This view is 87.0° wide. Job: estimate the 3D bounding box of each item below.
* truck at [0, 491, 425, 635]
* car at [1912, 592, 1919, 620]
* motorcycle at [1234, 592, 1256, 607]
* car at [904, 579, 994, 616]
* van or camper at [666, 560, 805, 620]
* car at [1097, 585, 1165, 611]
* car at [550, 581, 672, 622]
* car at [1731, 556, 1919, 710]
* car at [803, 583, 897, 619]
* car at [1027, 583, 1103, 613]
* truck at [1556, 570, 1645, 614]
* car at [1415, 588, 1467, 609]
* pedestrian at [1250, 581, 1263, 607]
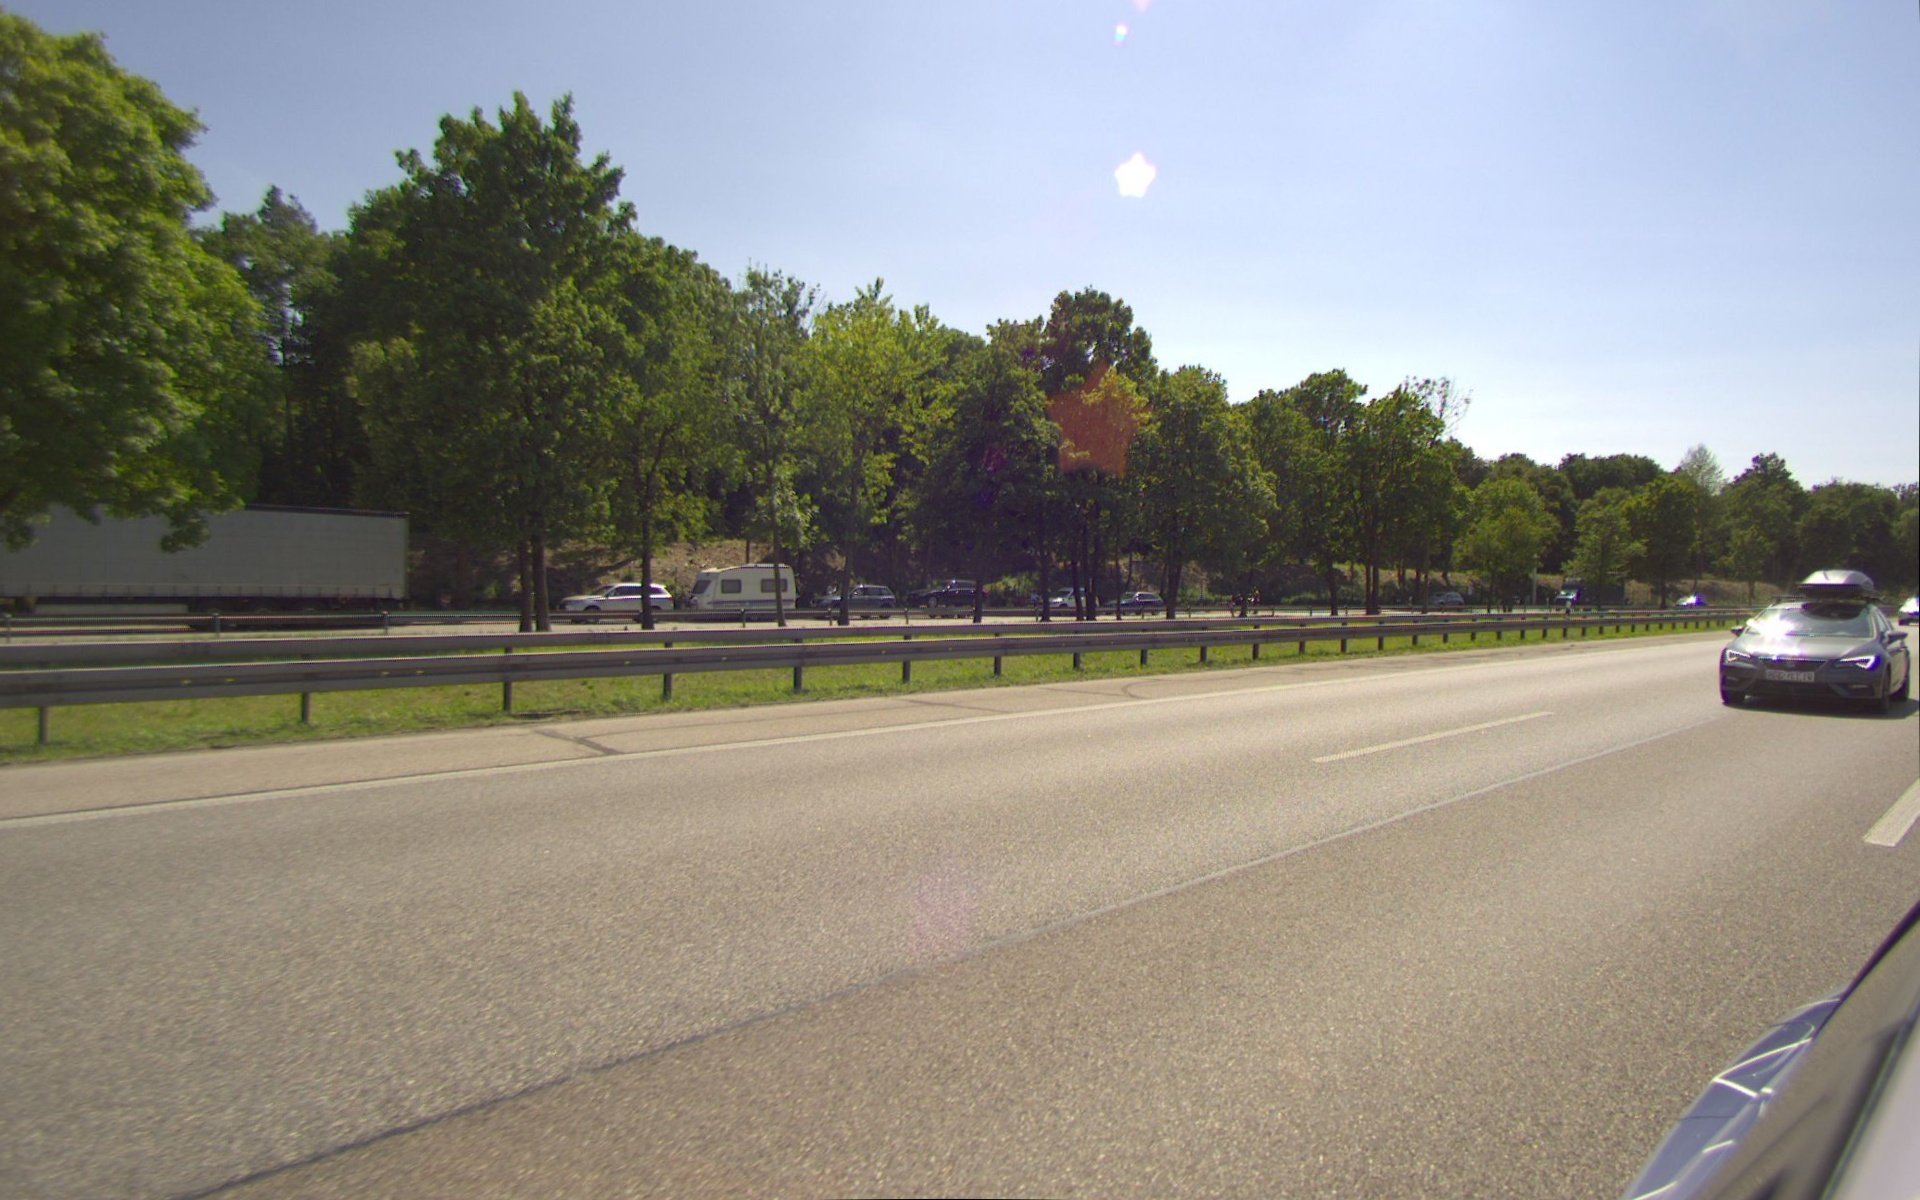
[{"bbox_3d":[-24.985,-1.092,31.824,2.997,3.980,14.228,2,1,44],"label":"truck"},{"bbox_3d":[57.369,0.372,59.323,3.963,1.588,1.847,0,0,-40],"label":"car"},{"bbox_3d":[20.138,-0.031,71.414,1.641,1.043,0.560,1,1,-35],"label":"motorcycle"},{"bbox_3d":[-0.562,-0.140,53.554,4.710,1.900,1.661,0,1,-37],"label":"car"},{"bbox_3d":[-10.091,-0.451,45.777,5.772,2.562,2.208,0,1,-41],"label":"van or camper"},{"bbox_3d":[10.832,-0.144,64.088,3.921,1.593,2.002,0,1,-32],"label":"car"},{"bbox_3d":[-14.391,0.037,41.844,4.470,1.617,1.661,0,1,-37],"label":"car"},{"bbox_3d":[12.883,0.394,14.801,4.744,1.899,1.668,0,2,-42],"label":"car"},{"bbox_3d":[-5.387,0.020,49.835,4.413,1.662,1.661,0,1,-37],"label":"car"},{"bbox_3d":[6.294,-0.128,60.231,4.565,1.696,1.661,0,1,-37],"label":"car"},{"bbox_3d":[62.137,-0.733,98.121,9.162,3.996,3.301,1,1,-30],"label":"truck"},{"bbox_3d":[41.185,-0.094,86.627,4.233,1.671,2.002,1,2,-32],"label":"car"},{"bbox_3d":[20.842,-0.401,71.126,0.788,1.804,0.641,1,1,11],"label":"pedestrian"}]
